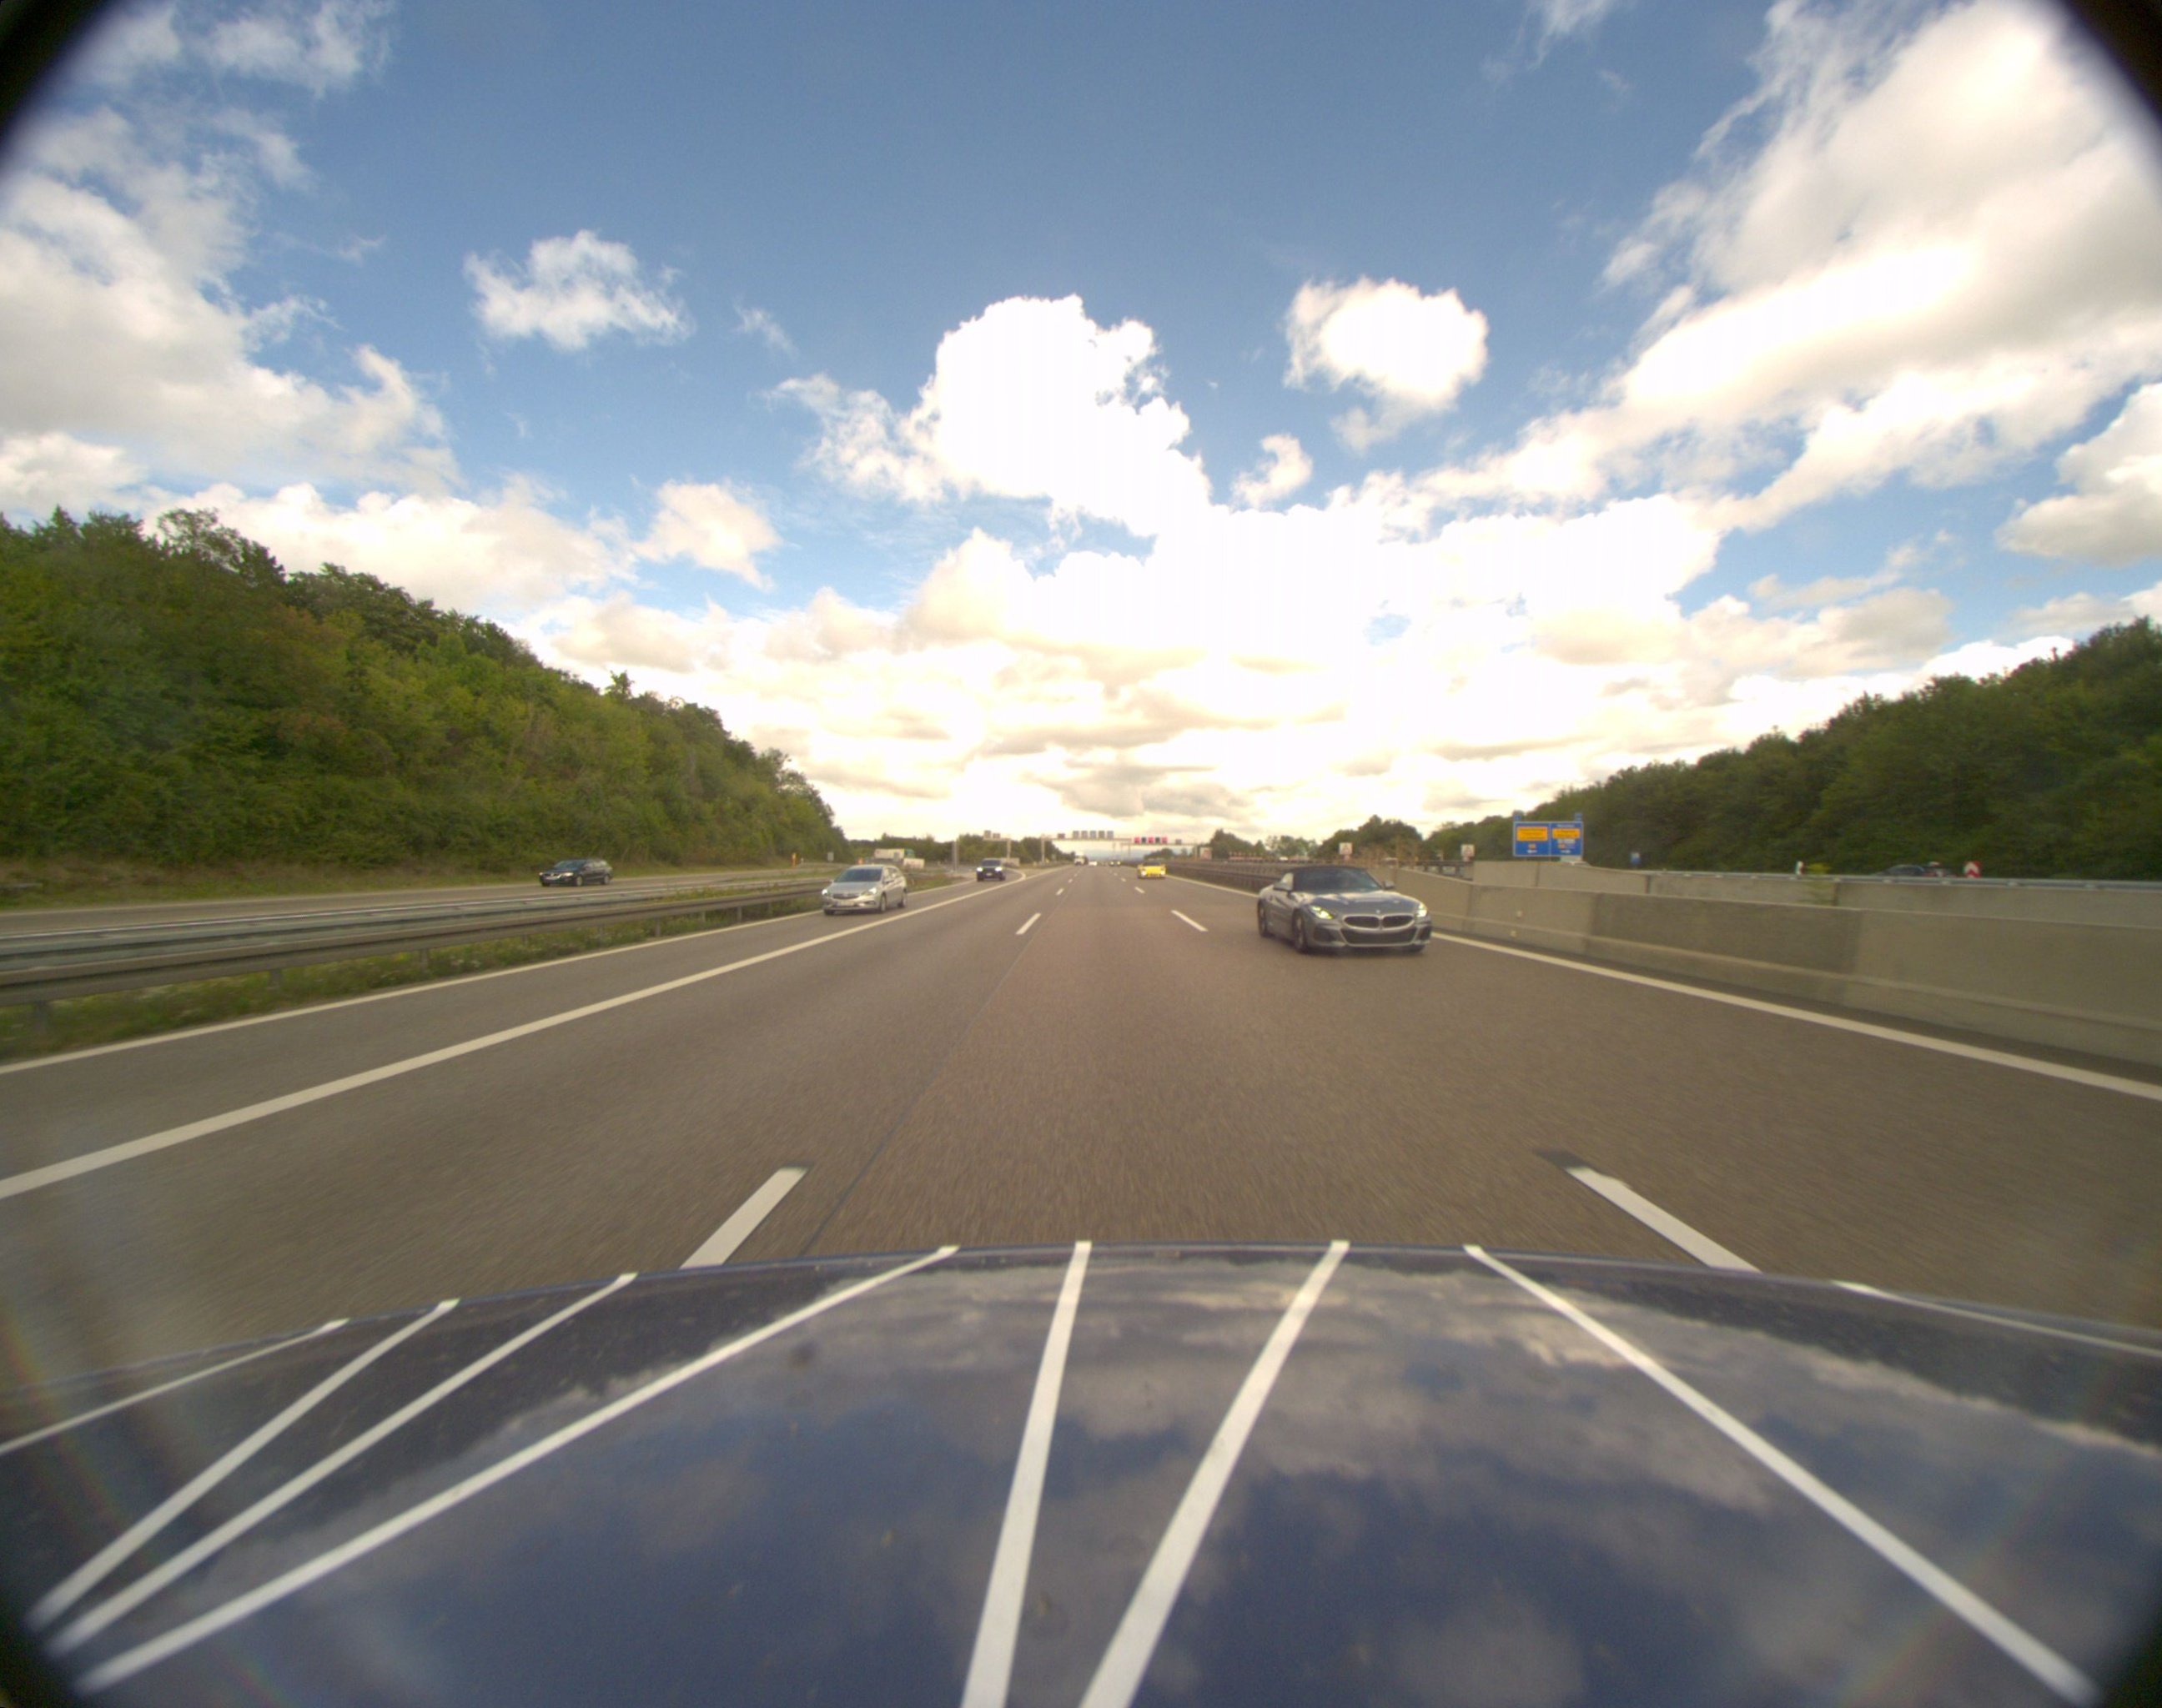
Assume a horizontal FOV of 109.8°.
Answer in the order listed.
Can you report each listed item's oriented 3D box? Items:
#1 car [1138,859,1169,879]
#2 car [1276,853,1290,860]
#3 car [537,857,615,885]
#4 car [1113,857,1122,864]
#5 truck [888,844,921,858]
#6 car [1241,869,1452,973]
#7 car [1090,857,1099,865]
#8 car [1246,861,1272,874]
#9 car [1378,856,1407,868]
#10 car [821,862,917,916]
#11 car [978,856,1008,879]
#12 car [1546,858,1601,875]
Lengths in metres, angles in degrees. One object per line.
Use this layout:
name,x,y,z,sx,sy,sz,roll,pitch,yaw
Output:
car,5.263,1.075,55.670,1.811,1.307,4.247,1,0,0
car,44.231,0.587,166.274,1.775,1.568,5.012,0,0,0
car,-26.936,0.882,40.727,1.717,1.407,4.166,0,0,-6
car,7.285,1.273,150.572,1.593,1.307,3.978,1,0,0
truck,-50.706,-0.811,217.444,2.976,3.775,13.425,-1,0,-42
car,4.160,0.965,12.890,1.878,1.295,4.942,-1,0,1
car,2.707,1.373,152.180,1.736,1.608,4.000,0,0,1
car,18.552,1.378,79.322,1.647,1.307,4.247,1,0,0
car,35.394,0.884,86.426,1.647,1.307,4.247,0,0,0
car,-6.666,1.046,24.402,1.687,1.476,4.616,-1,0,1
car,-6.774,1.017,58.733,1.876,1.626,4.858,-1,0,-2
car,38.805,0.987,59.975,1.647,1.307,4.247,0,0,0
